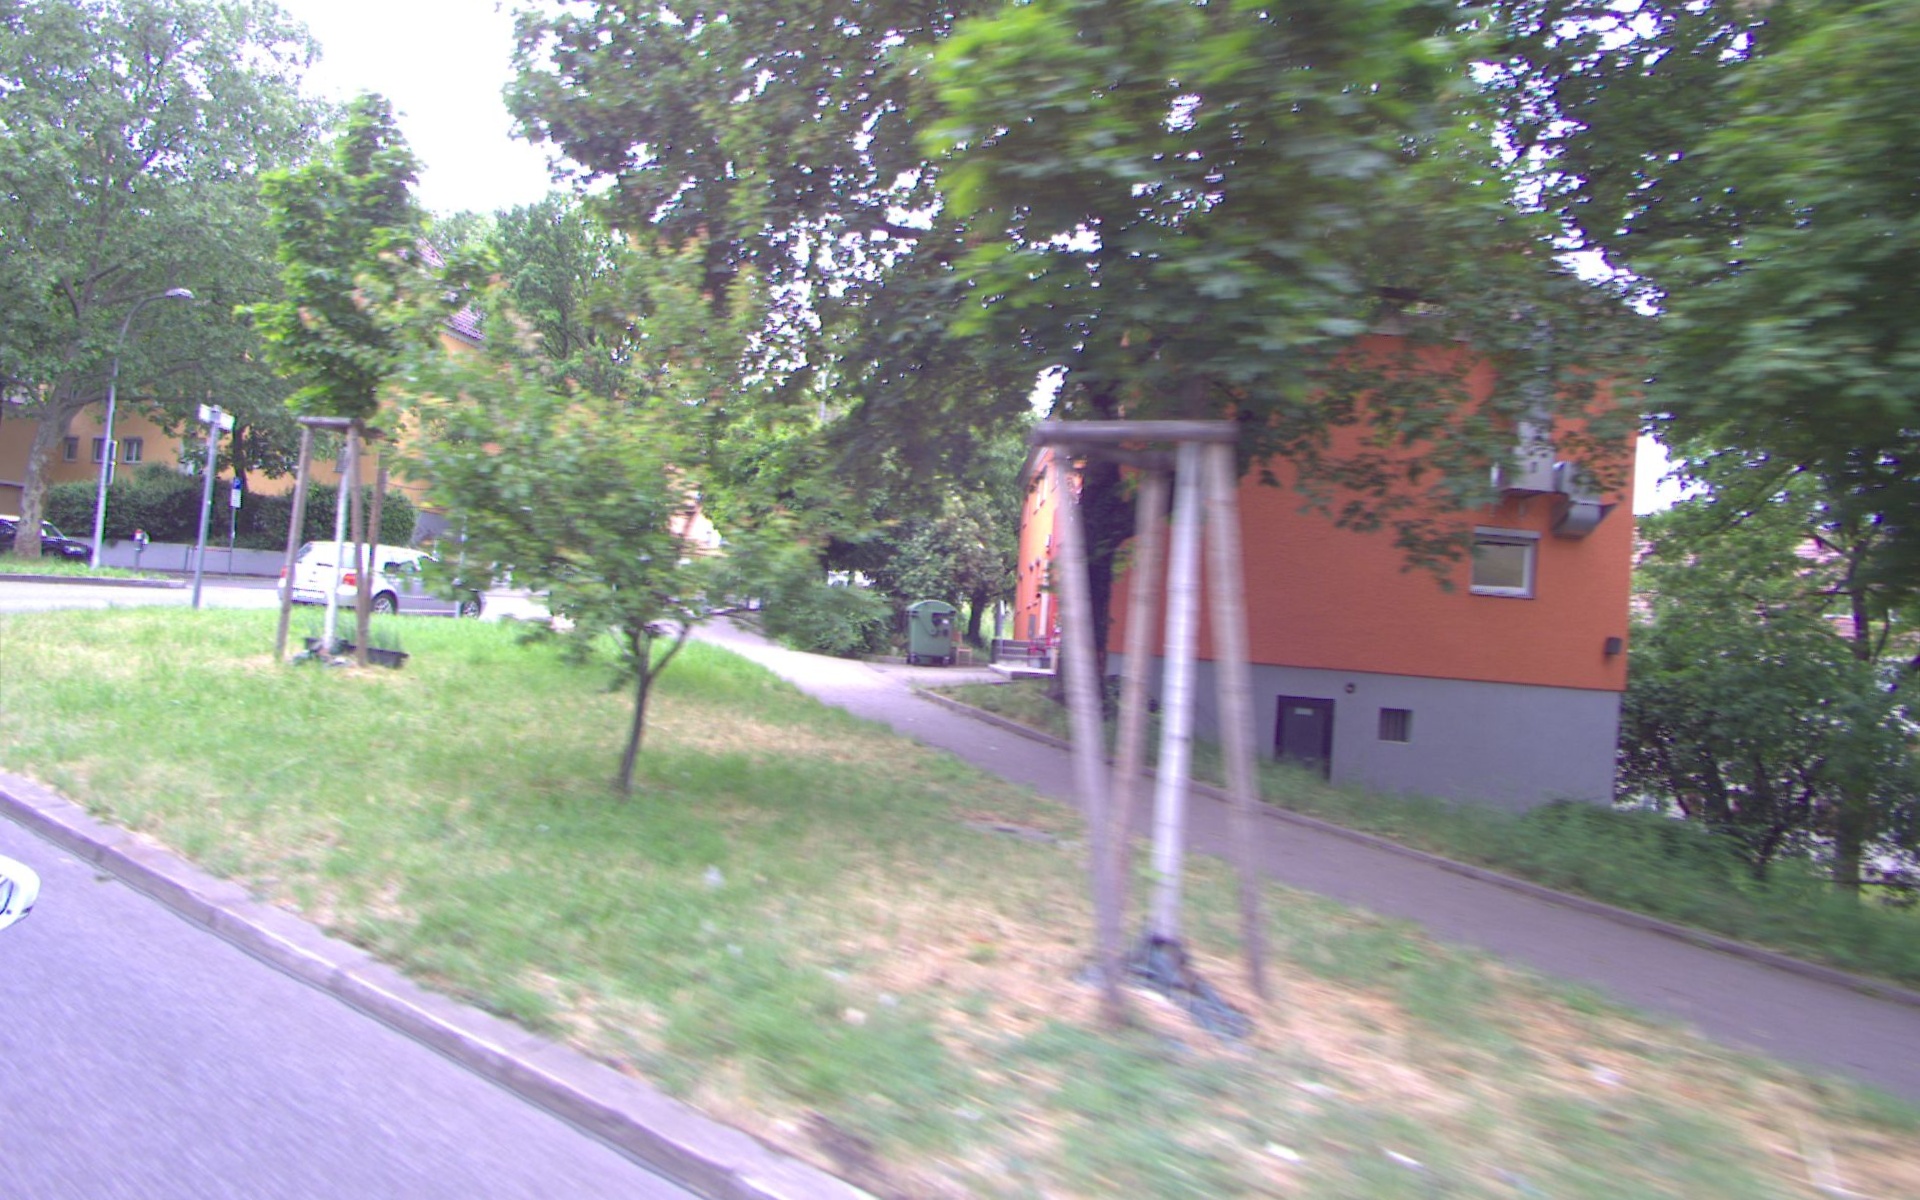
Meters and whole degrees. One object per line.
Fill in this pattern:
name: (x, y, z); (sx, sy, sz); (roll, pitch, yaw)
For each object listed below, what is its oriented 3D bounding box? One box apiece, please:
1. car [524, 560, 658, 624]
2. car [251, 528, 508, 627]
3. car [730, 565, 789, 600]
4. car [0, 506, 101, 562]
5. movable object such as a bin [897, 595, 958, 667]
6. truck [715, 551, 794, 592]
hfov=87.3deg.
car: (-9.773, -0.169, 26.991); (1.704, 1.446, 4.131); (5, 0, 5)
car: (-10.655, -0.329, 18.881); (1.827, 1.446, 4.132); (7, 0, 10)
car: (-11.385, -0.945, 57.292); (1.912, 1.605, 4.003); (6, -1, 9)
car: (-27.944, -1.979, 29.124); (4.368, 1.506, 1.849); (2, 3, -28)
movable object such as a bin: (-0.738, 0.687, 22.401); (1.220, 1.469, 1.081); (5, 0, -4)
truck: (-16.904, -2.366, 82.834); (5.885, 2.767, 2.000); (6, 0, 17)
